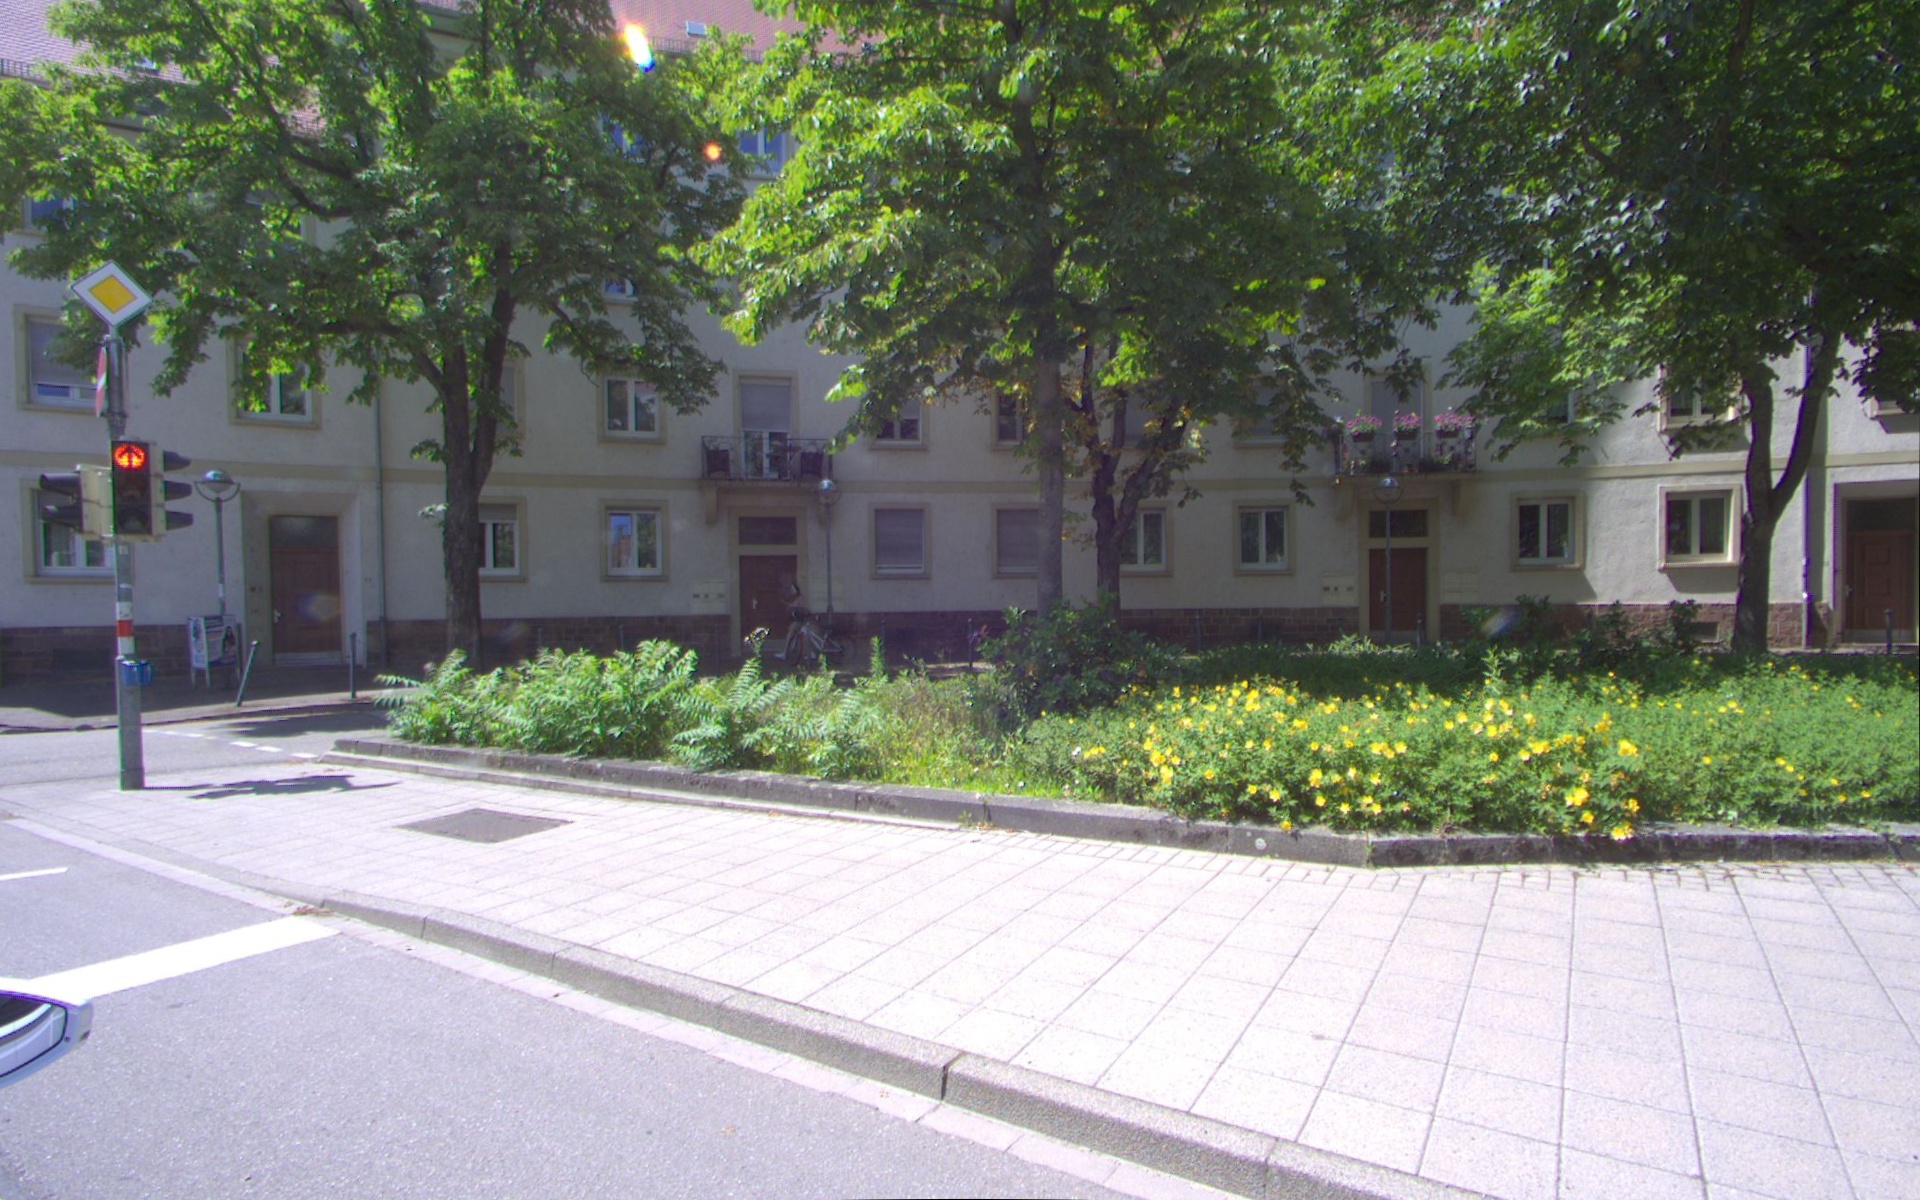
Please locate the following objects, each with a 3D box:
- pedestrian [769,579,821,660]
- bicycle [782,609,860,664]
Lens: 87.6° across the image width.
[{"bbox_3d":[-3.687,0.427,22.390,1.038,1.715,0.651,-3,7,-15],"label":"pedestrian"},{"bbox_3d":[-2.884,0.757,20.872,1.575,1.119,0.525,-1,1,-4],"label":"bicycle"}]
